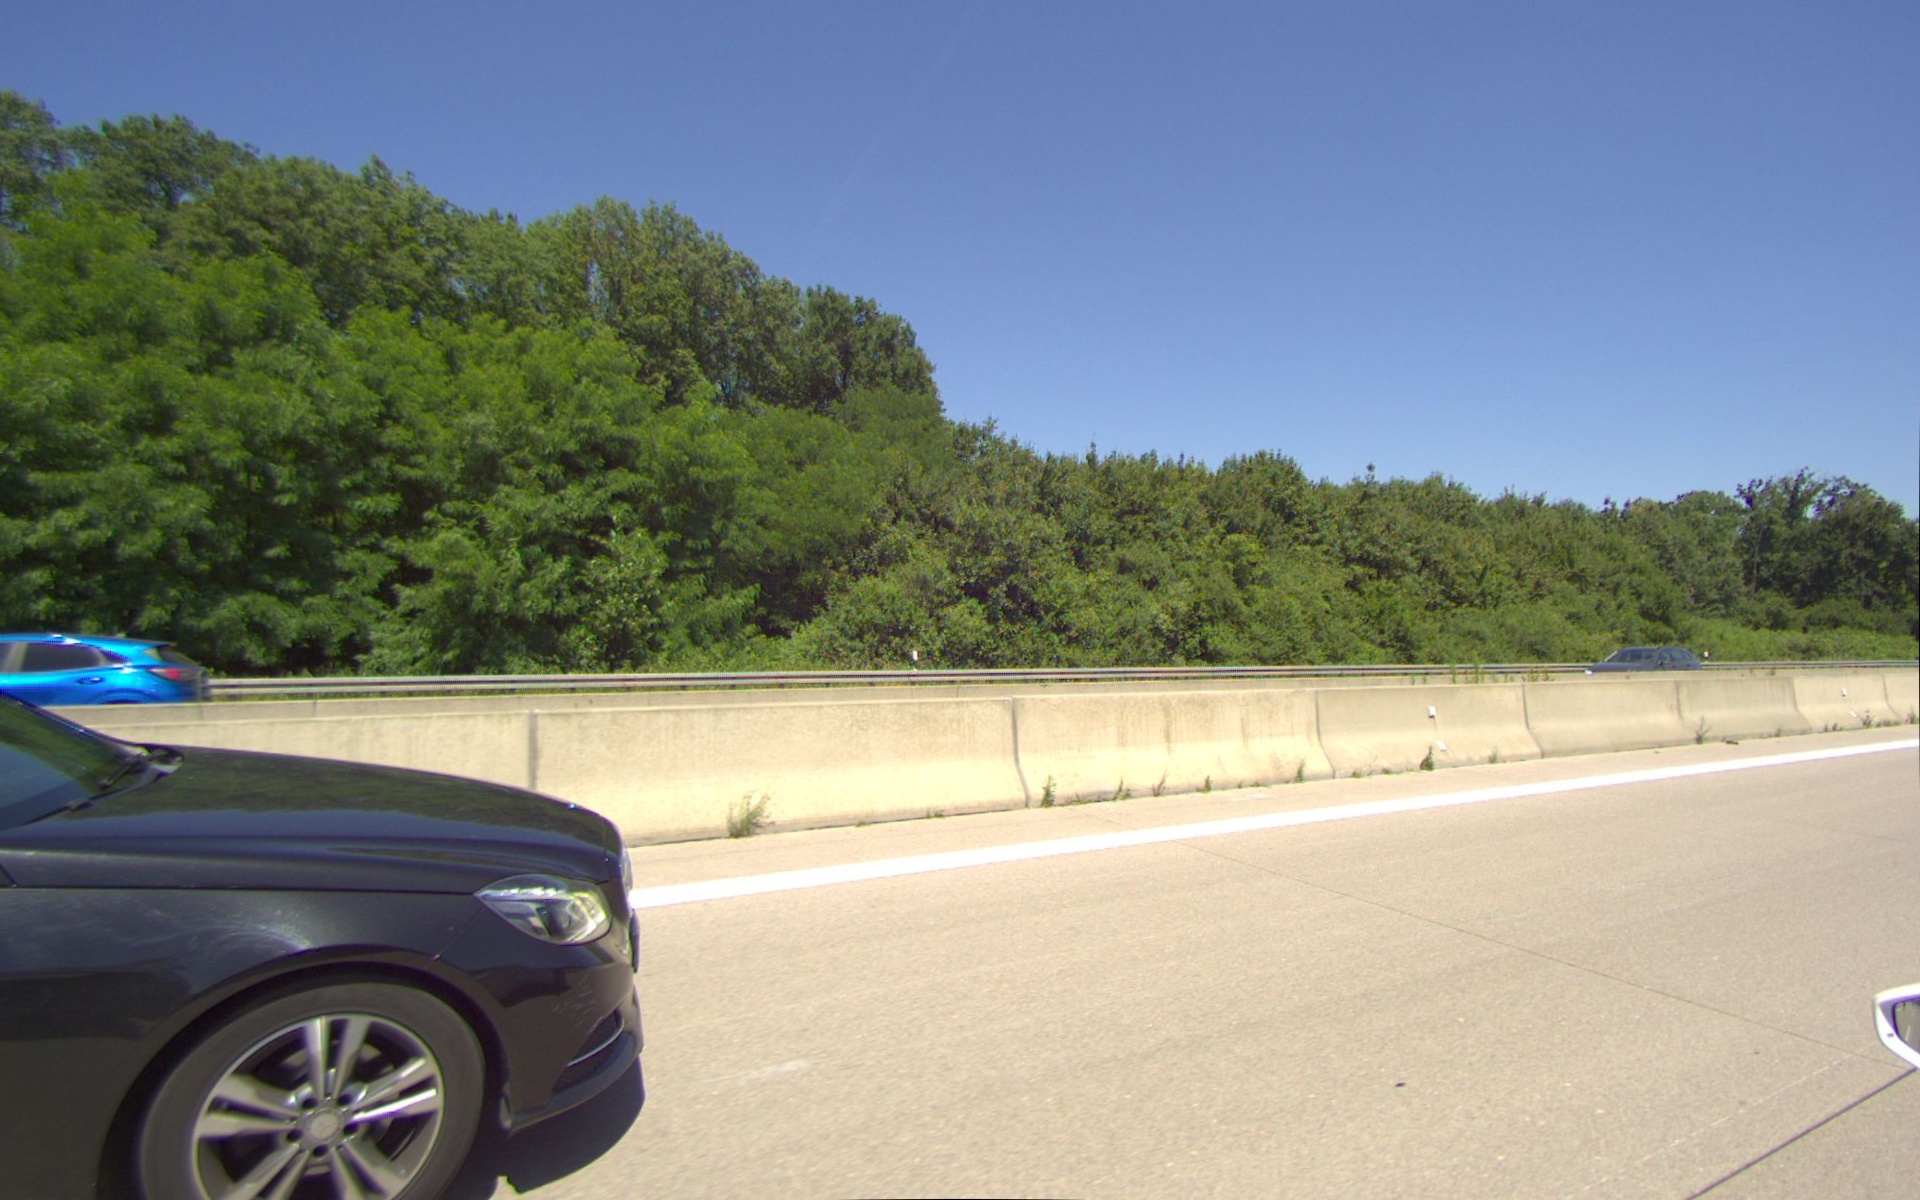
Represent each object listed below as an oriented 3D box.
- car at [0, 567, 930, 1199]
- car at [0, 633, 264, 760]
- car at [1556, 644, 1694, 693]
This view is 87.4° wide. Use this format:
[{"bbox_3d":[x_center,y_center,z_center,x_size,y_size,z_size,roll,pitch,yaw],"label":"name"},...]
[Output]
[{"bbox_3d":[-2.934,0.684,2.287,5.538,1.493,1.882,1,-1,-31],"label":"car"},{"bbox_3d":[-11.208,1.121,12.143,4.458,1.403,1.700,2,-1,-32],"label":"car"},{"bbox_3d":[20.232,2.040,30.497,4.807,1.333,1.667,2,-1,-32],"label":"car"}]
